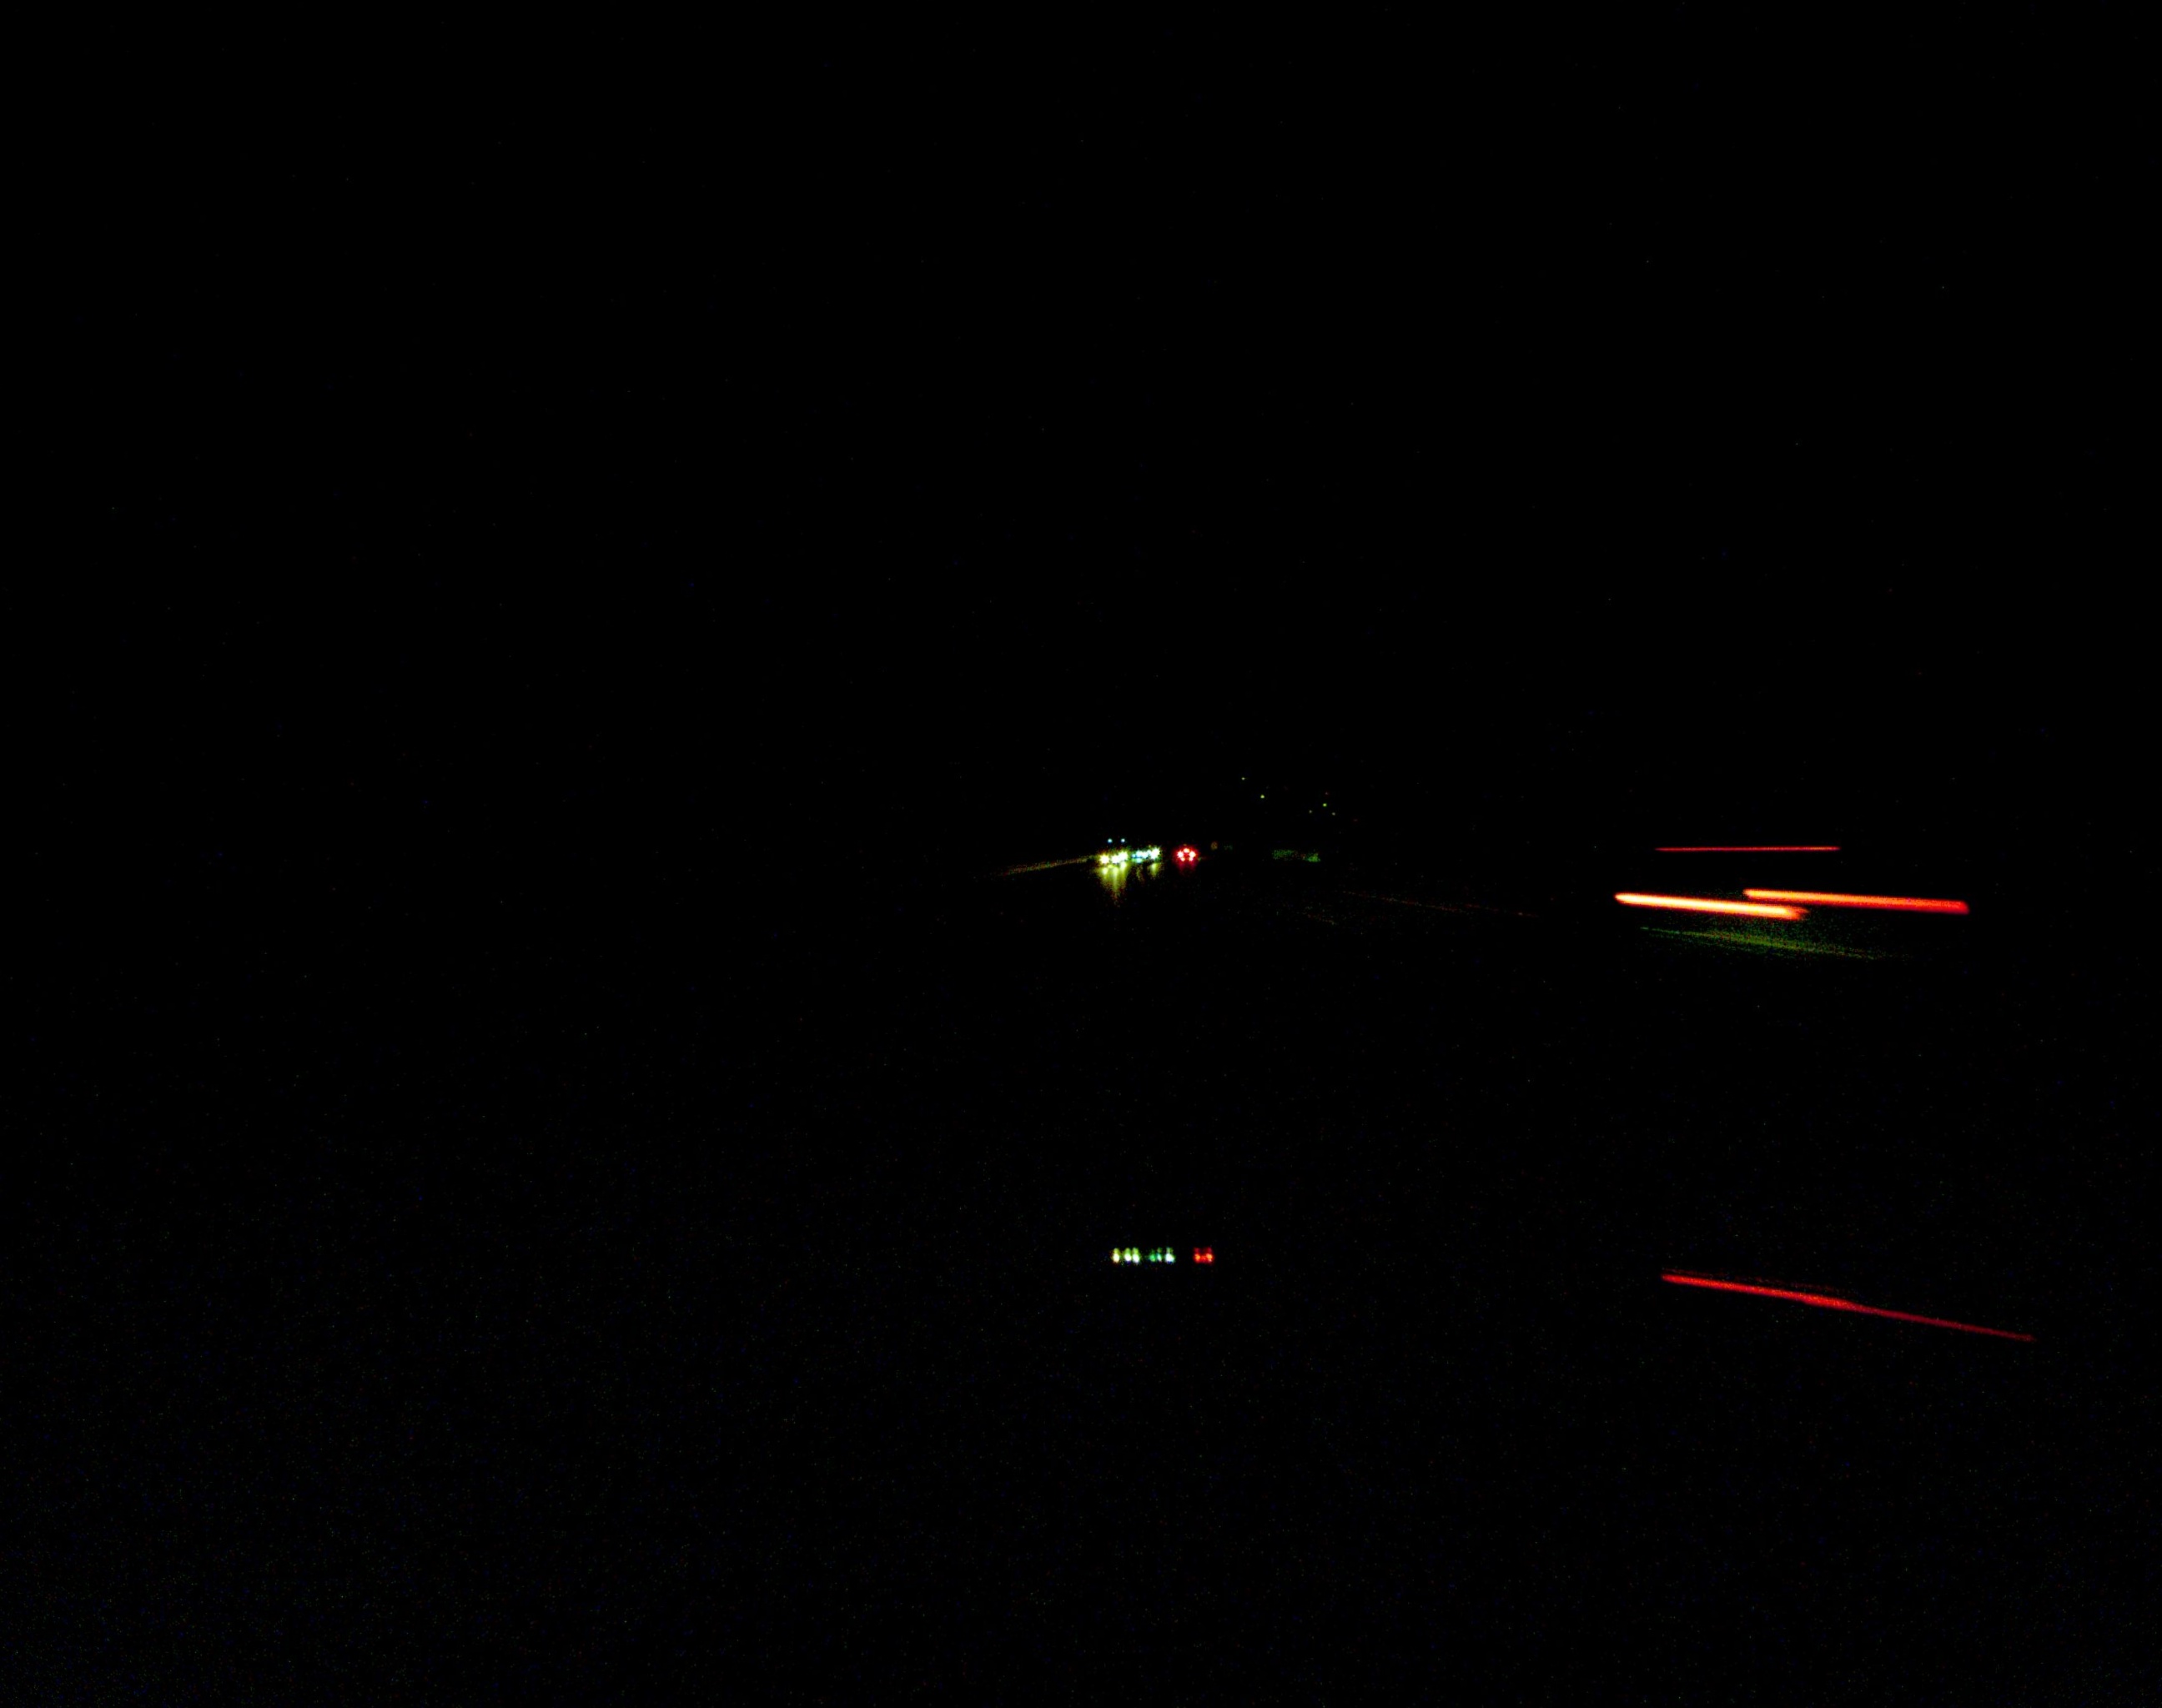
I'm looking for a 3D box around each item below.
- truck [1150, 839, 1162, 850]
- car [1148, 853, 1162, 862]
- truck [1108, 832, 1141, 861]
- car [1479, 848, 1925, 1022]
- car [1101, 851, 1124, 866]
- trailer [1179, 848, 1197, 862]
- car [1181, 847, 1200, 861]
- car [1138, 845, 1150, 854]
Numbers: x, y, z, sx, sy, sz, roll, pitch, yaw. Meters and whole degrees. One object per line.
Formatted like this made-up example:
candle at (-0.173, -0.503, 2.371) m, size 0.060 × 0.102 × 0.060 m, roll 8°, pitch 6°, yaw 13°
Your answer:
truck at (16.707, -2.069, 169.475) m, size 2.425 × 2.410 × 7.094 m, roll -1°, pitch 1°, yaw 7°
car at (12.272, 0.538, 126.305) m, size 1.811 × 1.508 × 3.939 m, roll -1°, pitch 0°, yaw 12°
truck at (7.060, -1.323, 119.983) m, size 2.969 × 4.251 × 17.154 m, roll -1°, pitch 1°, yaw 10°
car at (6.404, 0.683, 8.598) m, size 1.688 × 1.450 × 4.200 m, roll -1°, pitch 1°, yaw 2°
car at (3.361, 0.486, 81.275) m, size 1.811 × 1.508 × 3.939 m, roll -1°, pitch 0°, yaw 11°
trailer at (13.628, 0.083, 96.974) m, size 2.016 × 1.630 × 3.420 m, roll -1°, pitch 1°, yaw 12°
car at (14.554, -0.026, 101.000) m, size 2.016 × 1.630 × 4.866 m, roll -1°, pitch 1°, yaw 13°
car at (11.984, -0.812, 144.090) m, size 1.689 × 1.619 × 4.727 m, roll -1°, pitch 0°, yaw 12°
